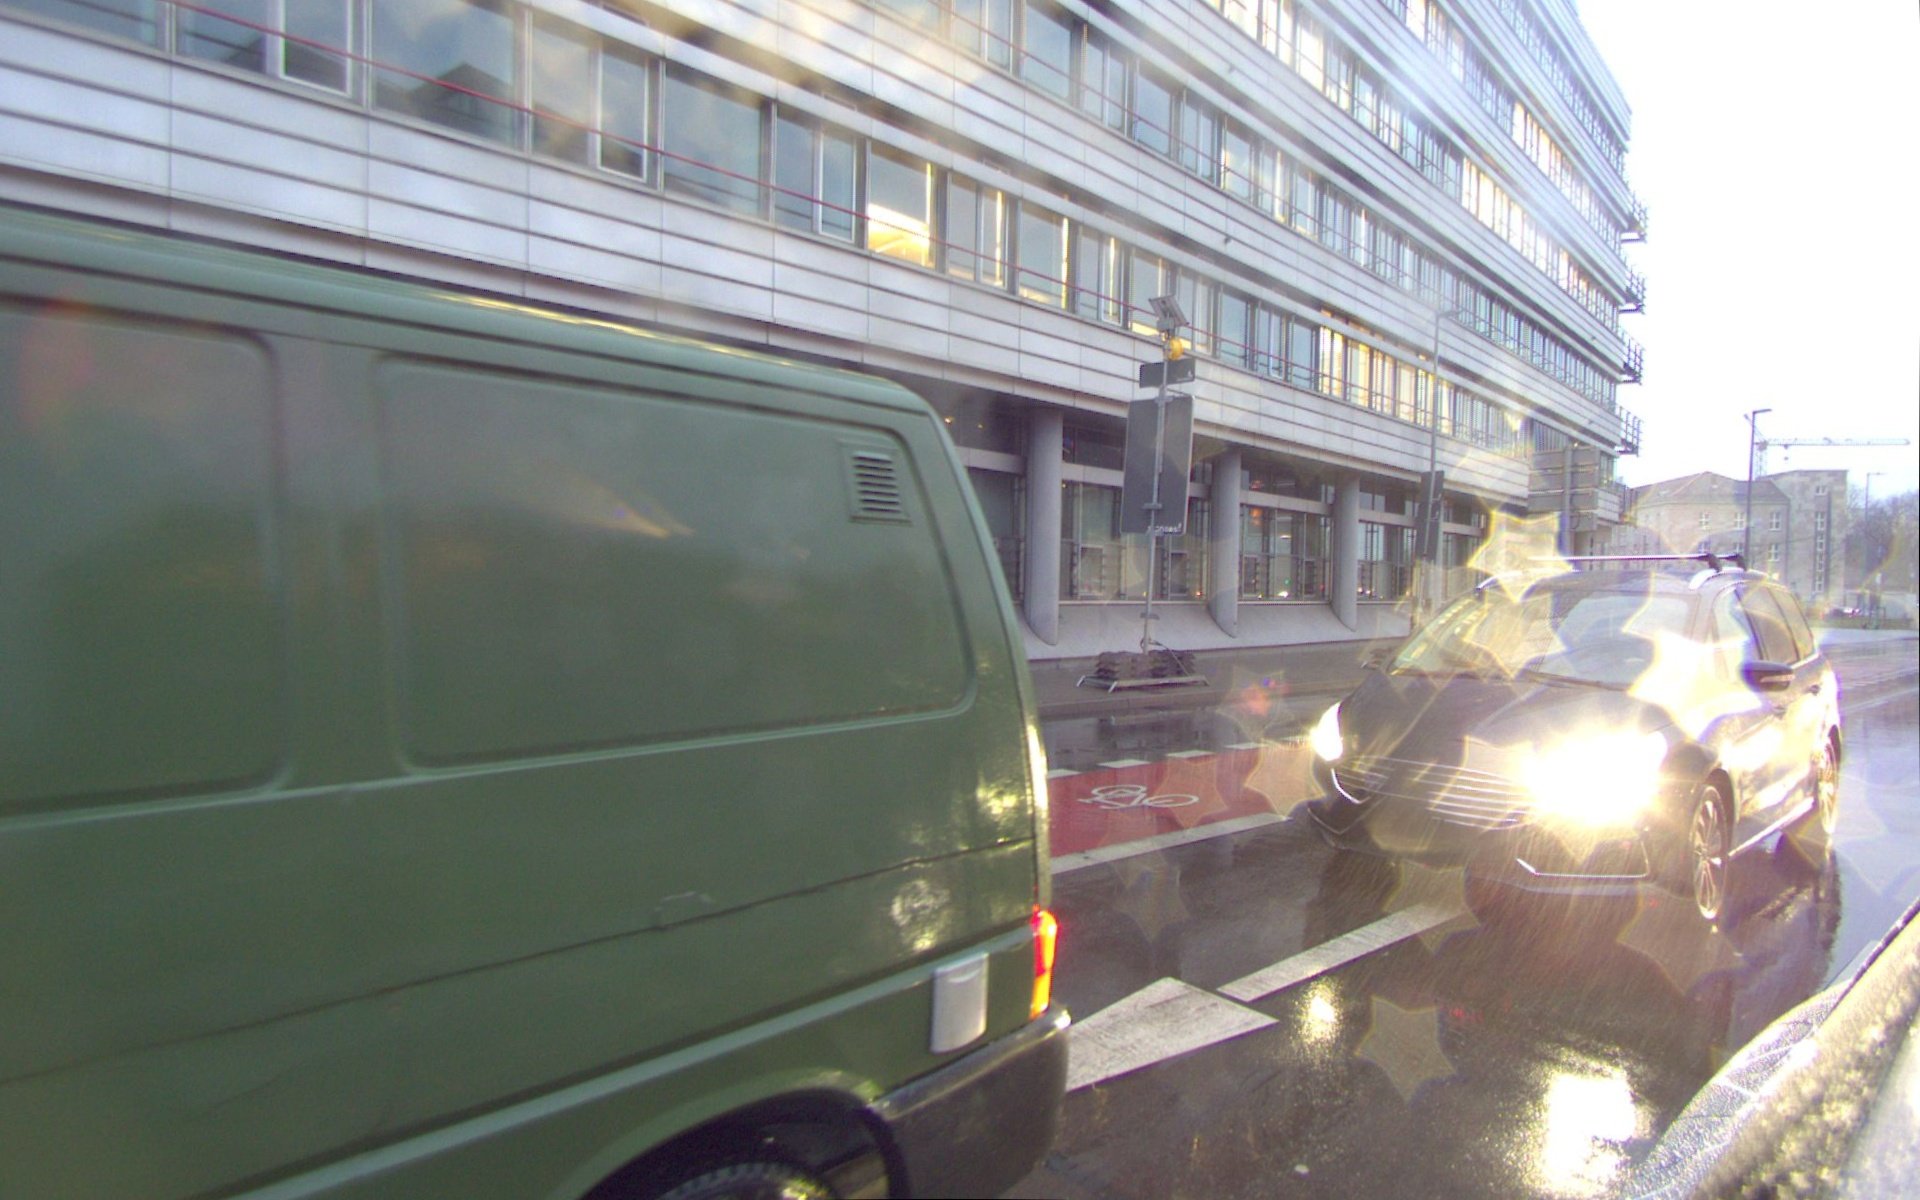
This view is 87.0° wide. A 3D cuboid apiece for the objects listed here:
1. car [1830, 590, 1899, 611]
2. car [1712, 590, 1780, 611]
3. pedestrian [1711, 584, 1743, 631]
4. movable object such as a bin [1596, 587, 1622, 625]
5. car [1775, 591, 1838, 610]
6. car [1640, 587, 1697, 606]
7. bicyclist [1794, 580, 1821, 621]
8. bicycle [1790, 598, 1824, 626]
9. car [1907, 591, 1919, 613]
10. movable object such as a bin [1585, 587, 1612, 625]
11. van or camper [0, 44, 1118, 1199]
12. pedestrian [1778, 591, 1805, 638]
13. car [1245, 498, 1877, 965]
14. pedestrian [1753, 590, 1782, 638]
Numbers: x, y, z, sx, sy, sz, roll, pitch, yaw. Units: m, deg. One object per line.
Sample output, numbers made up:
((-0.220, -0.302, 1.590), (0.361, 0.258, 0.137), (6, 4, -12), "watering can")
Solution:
((74.037, 0.032, 82.896), (1.743, 1.556, 3.775), (1, 1, -24), "car")
((70.807, 0.009, 91.246), (1.958, 1.782, 4.386), (0, 1, -24), "car")
((29.536, 0.283, 38.955), (0.953, 1.722, 0.746), (0, 4, -44), "pedestrian")
((25.825, 0.231, 40.286), (0.826, 1.495, 0.665), (0, 1, -44), "movable object such as a bin")
((72.626, 0.024, 86.871), (1.743, 1.556, 3.775), (1, 1, -24), "car")
((68.354, -0.318, 97.679), (1.958, 1.693, 4.013), (0, 1, -24), "car")
((38.612, 0.017, 46.097), (0.790, 1.820, 0.672), (0, 1, -33), "bicyclist")
((38.630, 0.548, 46.136), (1.727, 1.213, 0.682), (-1, 2, -32), "bicycle")
((76.335, 0.211, 78.406), (1.743, 1.730, 3.932), (0, 1, -26), "car")
((24.592, 0.215, 38.967), (0.826, 1.446, 0.665), (0, 1, -44), "movable object such as a bin")
((-1.914, 0.470, 1.122), (4.341, 1.931, 1.760), (0, 0, -41), "van or camper")
((30.515, 0.519, 37.132), (0.870, 1.689, 0.615), (0, 3, -44), "pedestrian")
((3.895, 0.509, 6.178), (4.587, 1.834, 1.887), (0, 0, -39), "car")
((29.957, 0.502, 37.561), (0.870, 1.723, 0.650), (0, 3, -44), "pedestrian")
